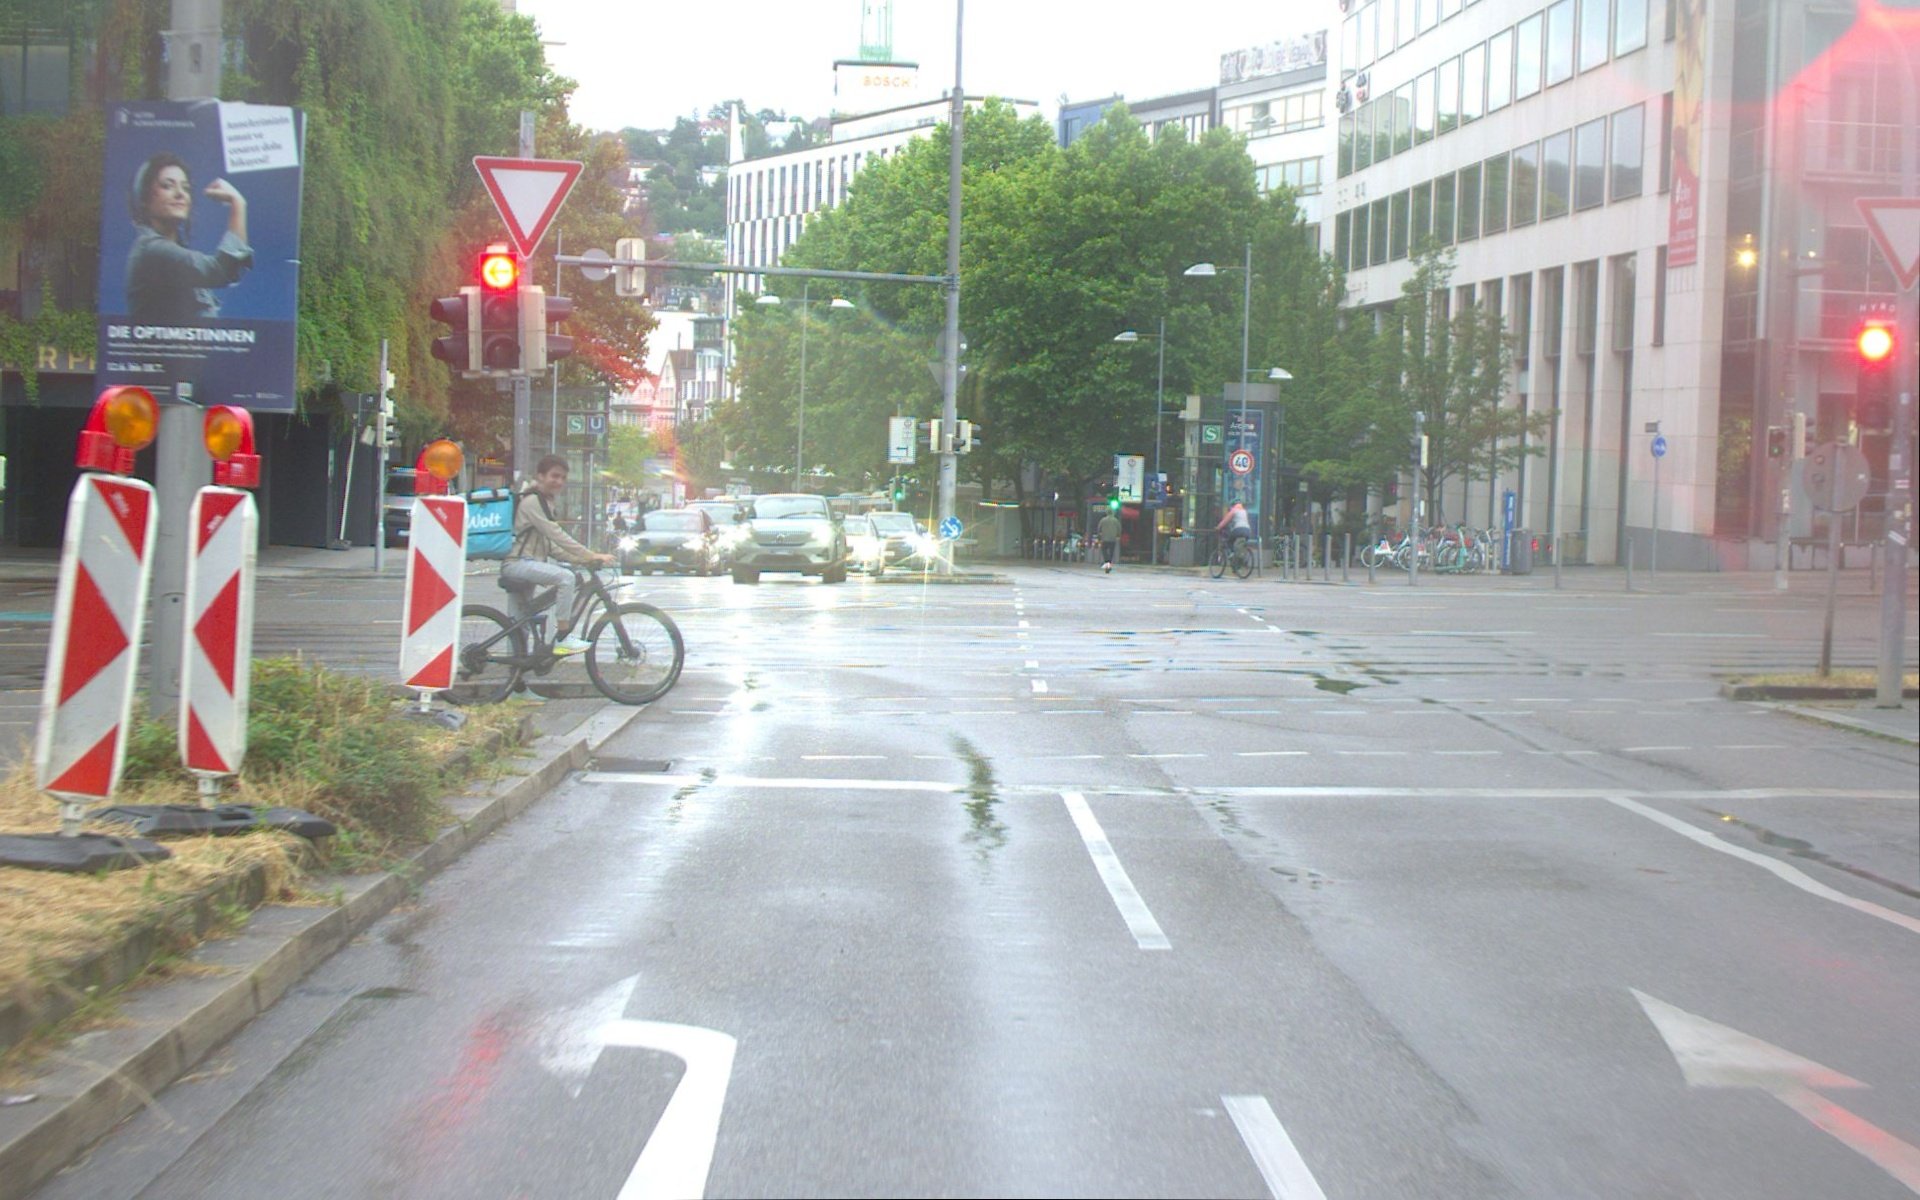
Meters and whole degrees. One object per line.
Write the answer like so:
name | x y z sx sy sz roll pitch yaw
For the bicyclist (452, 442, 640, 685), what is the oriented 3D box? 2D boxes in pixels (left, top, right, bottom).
bicyclist | -2.981 -0.266 24.753 1.294 1.698 0.848 1 1 -7

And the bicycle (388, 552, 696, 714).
bicycle | -3.006 0.231 24.747 2.145 1.099 0.848 1 2 -7

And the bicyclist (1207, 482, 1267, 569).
bicyclist | 6.426 -1.731 79.689 0.791 1.968 1.114 0 2 -41

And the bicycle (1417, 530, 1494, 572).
bicycle | 11.696 -1.158 81.172 1.799 0.931 0.474 2 2 41

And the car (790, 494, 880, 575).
car | -2.805 -1.495 77.216 1.963 1.649 4.365 1 3 -2

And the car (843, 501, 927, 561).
car | -2.006 -1.833 90.464 1.993 1.438 4.557 0 3 -4

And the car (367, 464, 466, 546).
car | -13.069 -2.286 82.901 1.993 1.888 4.466 1 2 -5

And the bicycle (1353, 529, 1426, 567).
bicycle | 10.918 -1.316 87.348 1.794 0.931 0.475 1 1 3

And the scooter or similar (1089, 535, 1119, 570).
scooter or similar | 4.267 -1.418 101.753 0.556 1.003 1.824 1 1 -8

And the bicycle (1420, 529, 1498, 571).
bicycle | 11.667 -1.180 80.427 1.799 0.931 0.474 2 2 41

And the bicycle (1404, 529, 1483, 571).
bicycle | 11.076 -1.152 78.819 1.799 0.931 0.474 2 2 41

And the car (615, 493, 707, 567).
car | -6.293 -1.501 72.499 1.856 1.443 4.622 1 2 -5

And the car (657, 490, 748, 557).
car | -5.956 -1.784 79.121 1.856 1.443 4.622 1 2 -7

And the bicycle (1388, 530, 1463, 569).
bicycle | 11.569 -1.263 85.500 1.794 0.931 0.475 1 1 3

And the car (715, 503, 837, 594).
car | -3.363 -0.955 61.972 1.993 1.545 4.557 1 2 -5

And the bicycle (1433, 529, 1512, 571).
bicycle | 11.841 -1.156 79.461 1.799 0.931 0.474 2 2 41

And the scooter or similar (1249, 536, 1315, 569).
scooter or similar | 8.851 -1.302 94.510 1.745 0.875 0.489 0 1 -19

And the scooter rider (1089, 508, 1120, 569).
scooter rider | 4.264 -1.822 101.769 0.762 1.768 0.796 1 1 -8

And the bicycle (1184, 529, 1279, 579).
bicycle | 6.300 -1.073 79.852 0.791 1.113 2.255 0 2 -41
